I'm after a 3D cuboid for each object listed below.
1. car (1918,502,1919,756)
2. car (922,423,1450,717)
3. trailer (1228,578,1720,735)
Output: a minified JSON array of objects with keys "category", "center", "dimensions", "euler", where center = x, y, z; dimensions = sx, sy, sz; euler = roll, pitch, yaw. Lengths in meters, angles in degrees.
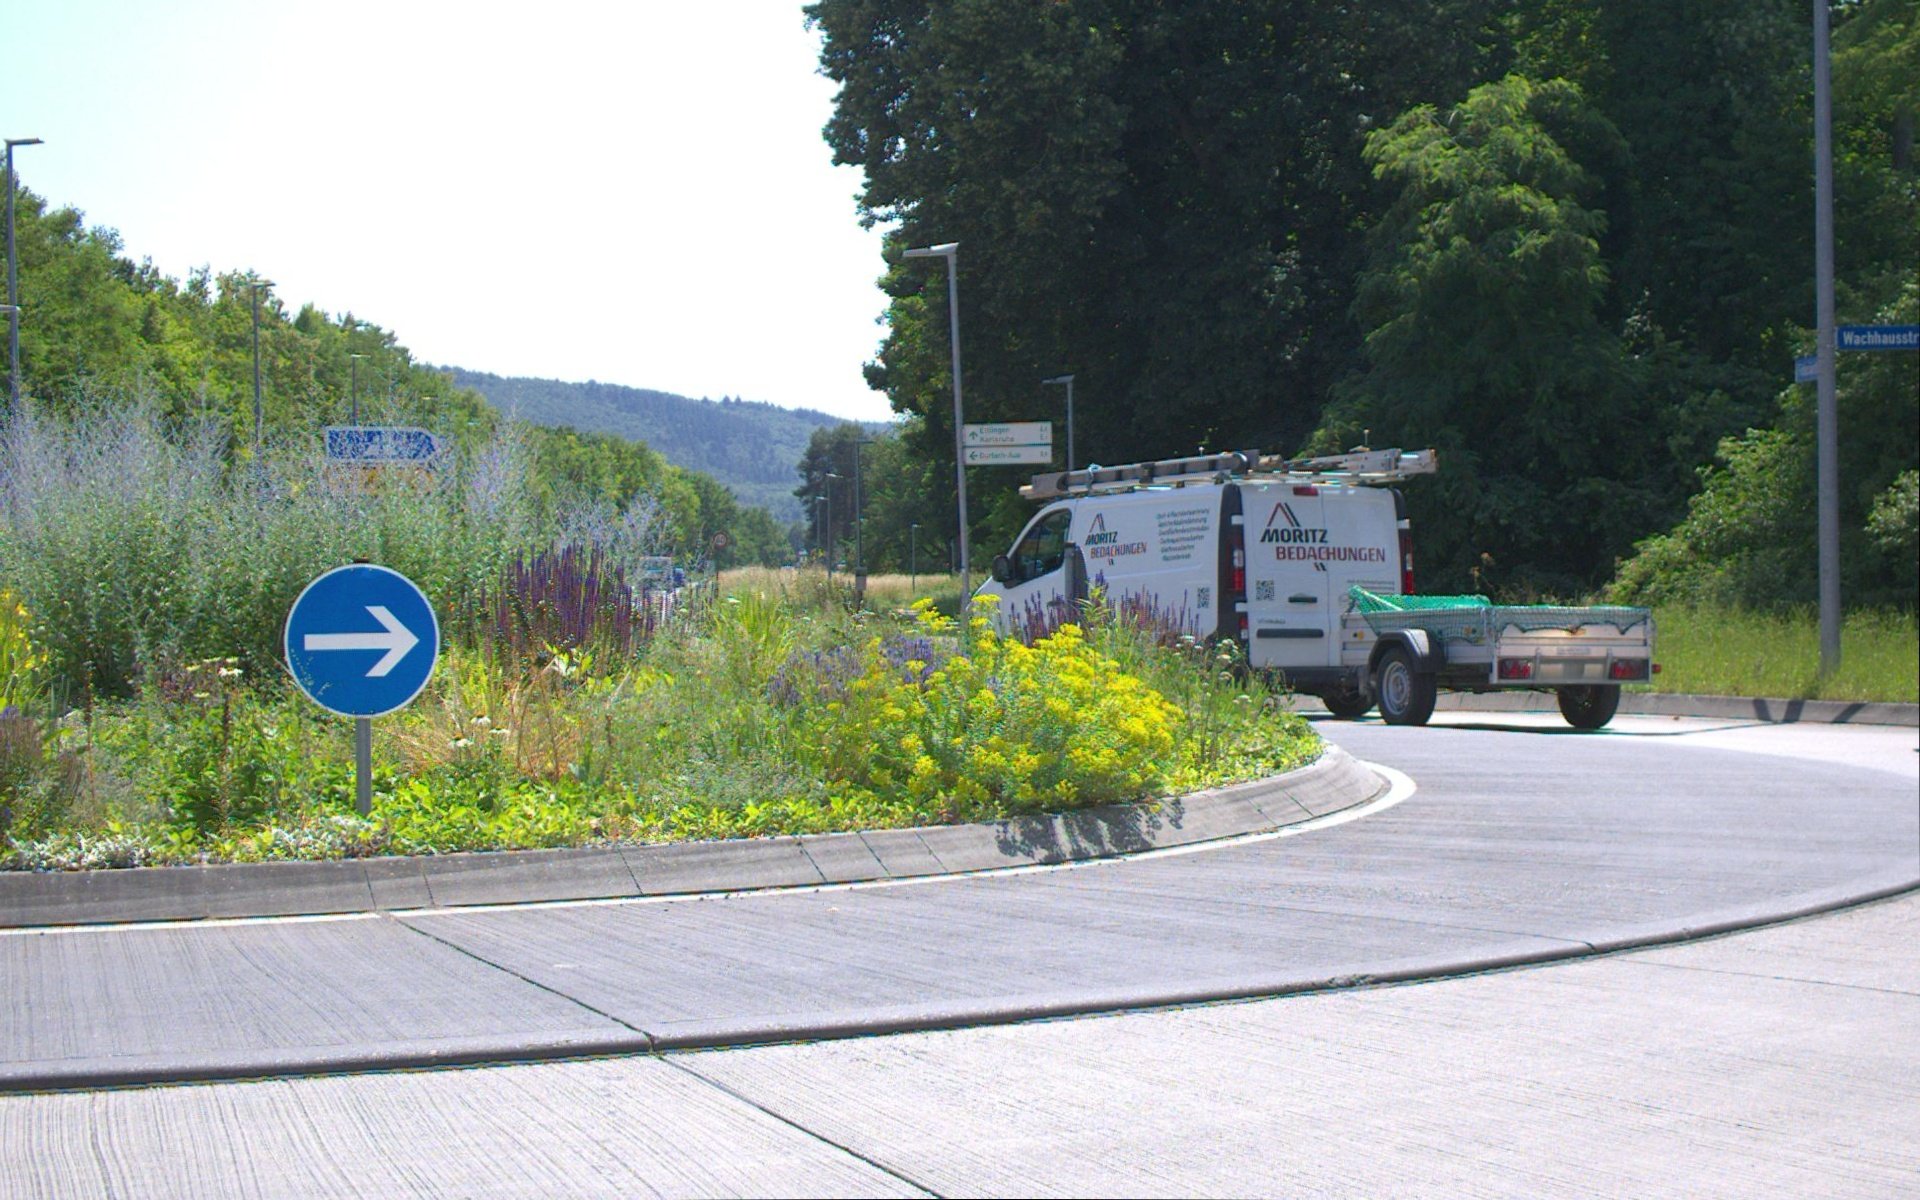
[{"category":"car","center":[8.282,0.184,21.547],"dimensions":[4.120,1.601,1.788],"euler":[0,0,27]},{"category":"car","center":[1.826,-0.250,29.642],"dimensions":[2.166,2.308,4.981],"euler":[0,0,-30]},{"category":"trailer","center":[3.809,0.383,25.967],"dimensions":[2.121,1.093,3.355],"euler":[0,0,-27]}]
